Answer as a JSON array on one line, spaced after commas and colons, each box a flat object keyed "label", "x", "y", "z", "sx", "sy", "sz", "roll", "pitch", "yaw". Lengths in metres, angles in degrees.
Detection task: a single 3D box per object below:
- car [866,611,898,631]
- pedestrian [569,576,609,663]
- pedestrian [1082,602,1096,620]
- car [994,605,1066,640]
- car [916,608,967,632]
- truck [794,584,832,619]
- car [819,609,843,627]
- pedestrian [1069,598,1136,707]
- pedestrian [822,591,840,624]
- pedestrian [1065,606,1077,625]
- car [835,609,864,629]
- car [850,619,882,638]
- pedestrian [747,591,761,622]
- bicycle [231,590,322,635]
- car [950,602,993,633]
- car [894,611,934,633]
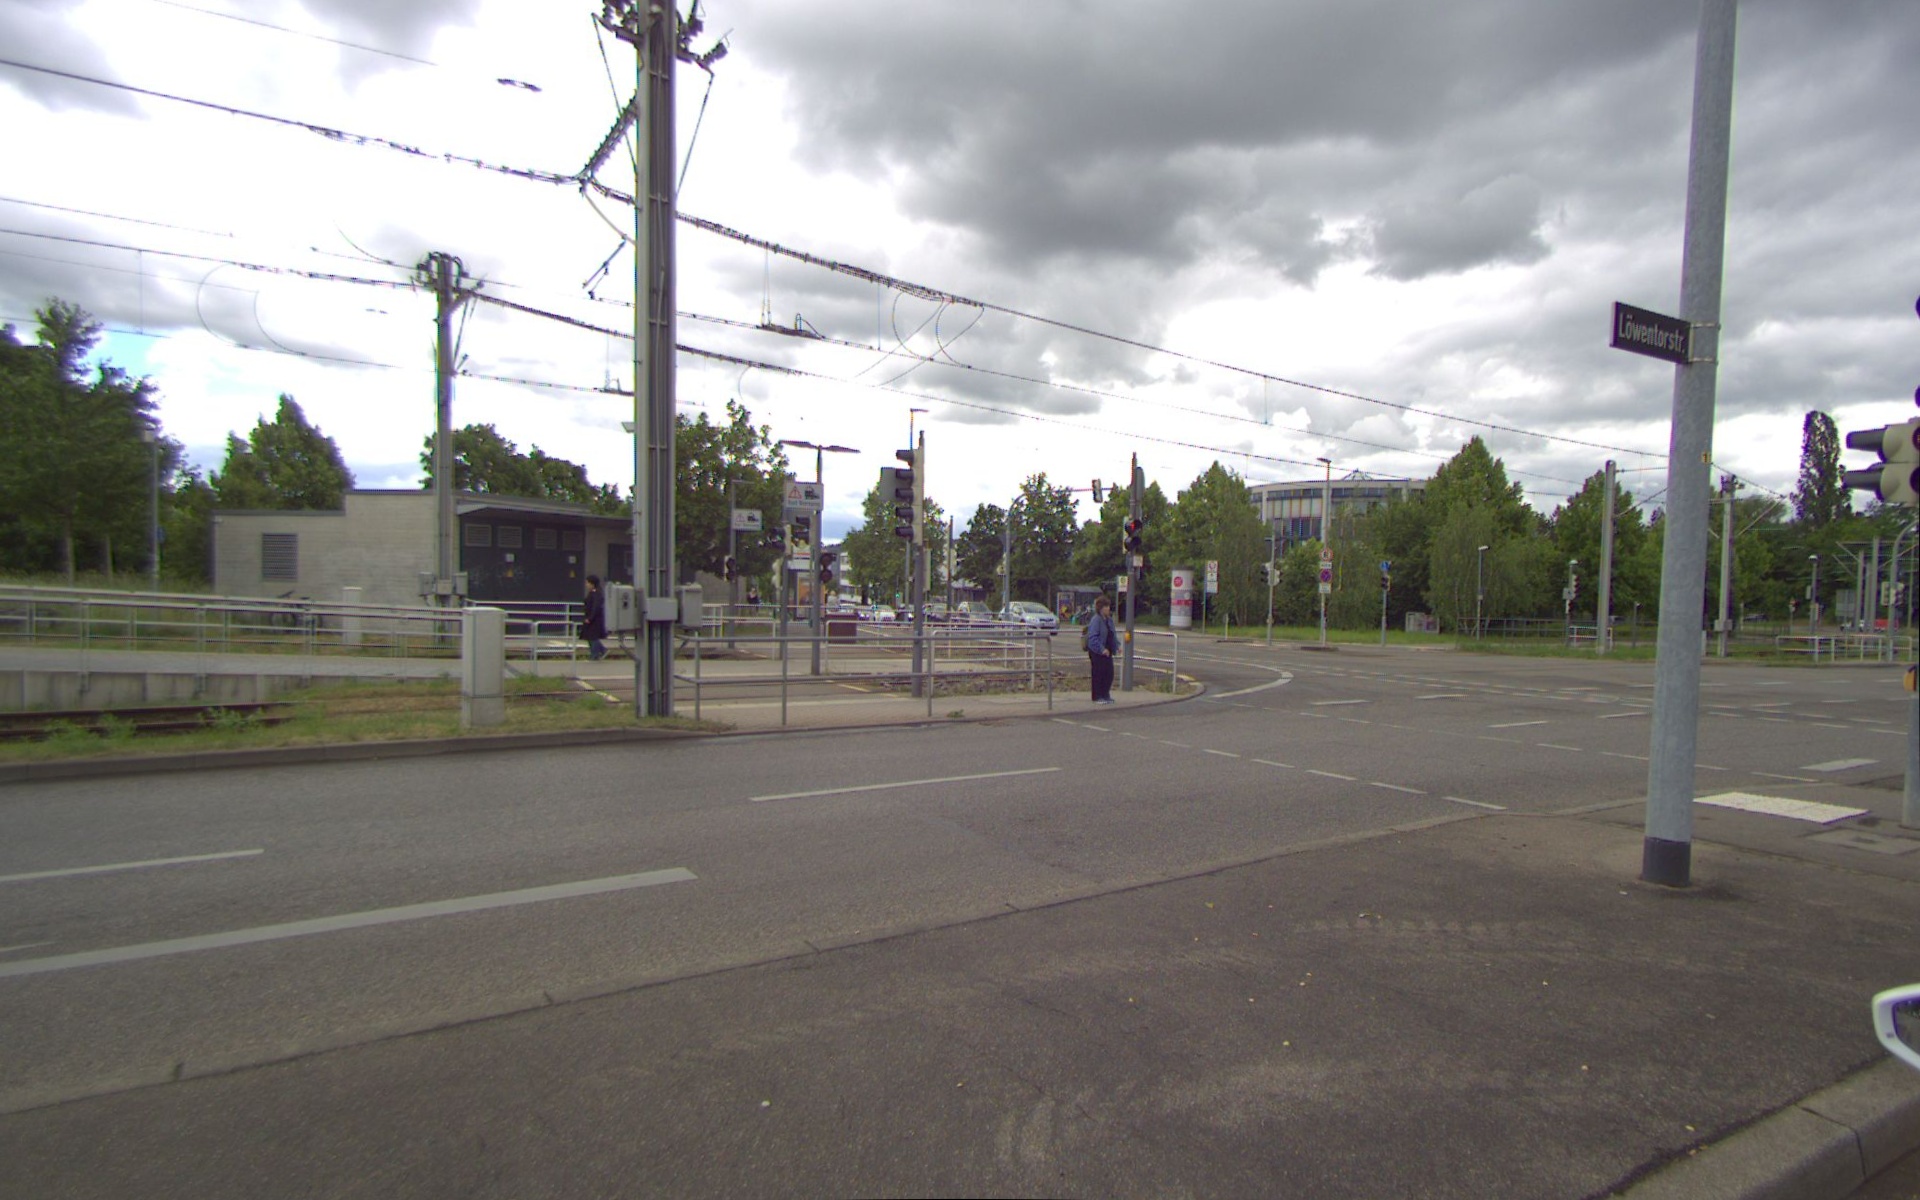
[{"label": "car", "x": -5.831, "y": 1.566, "z": 74.708, "sx": 1.618, "sy": 1.409, "sz": 3.748, "roll": 1, "pitch": 0, "yaw": -17}, {"label": "pedestrian", "x": -7.007, "y": 0.364, "z": 18.970, "sx": 0.539, "sy": 1.593, "sz": 0.560, "roll": 4, "pitch": -1, "yaw": -31}, {"label": "pedestrian", "x": 9.179, "y": 0.816, "z": 71.584, "sx": 0.759, "sy": 1.269, "sz": 0.774, "roll": 1, "pitch": 0, "yaw": 32}, {"label": "car", "x": 3.228, "y": 1.035, "z": 47.001, "sx": 1.805, "sy": 1.556, "sz": 4.199, "roll": 1, "pitch": 0, "yaw": -21}, {"label": "car", "x": -1.133, "y": 1.141, "z": 58.175, "sx": 1.777, "sy": 1.350, "sz": 4.362, "roll": 1, "pitch": 0, "yaw": -18}, {"label": "truck", "x": -15.696, "y": 0.152, "z": 106.445, "sx": 2.670, "sy": 3.533, "sz": 9.960, "roll": 0, "pitch": 0, "yaw": -16}, {"label": "car", "x": -12.079, "y": 1.668, "z": 94.118, "sx": 1.618, "sy": 1.607, "sz": 4.046, "roll": 1, "pitch": 0, "yaw": -17}, {"label": "pedestrian", "x": 2.086, "y": 0.750, "z": 14.711, "sx": 0.661, "sy": 1.550, "sz": 0.711, "roll": 1, "pitch": 0, "yaw": -25}, {"label": "pedestrian", "x": -5.601, "y": 0.326, "z": 43.701, "sx": 0.543, "sy": 1.382, "sz": 0.769, "roll": 1, "pitch": 0, "yaw": -24}, {"label": "pedestrian", "x": 8.071, "y": 1.136, "z": 72.925, "sx": 0.718, "sy": 1.333, "sz": 0.587, "roll": 1, "pitch": 0, "yaw": -15}, {"label": "car", "x": -9.578, "y": 1.605, "z": 86.773, "sx": 1.708, "sy": 1.607, "sz": 4.208, "roll": 1, "pitch": 0, "yaw": -17}, {"label": "car", "x": -7.559, "y": 2.256, "z": 80.346, "sx": 1.618, "sy": 1.409, "sz": 4.867, "roll": 1, "pitch": 0, "yaw": -17}, {"label": "pedestrian", "x": -11.417, "y": 0.374, "z": 55.768, "sx": 0.539, "sy": 1.692, "sz": 0.639, "roll": 1, "pitch": 0, "yaw": 10}, {"label": "bicycle", "x": -18.435, "y": 0.337, "z": 27.086, "sx": 2.210, "sy": 1.120, "sz": 0.679, "roll": 2, "pitch": 0, "yaw": 12}, {"label": "car", "x": 0.575, "y": 0.908, "z": 53.209, "sx": 1.411, "sy": 1.547, "sz": 2.763, "roll": 0, "pitch": 0, "yaw": -19}, {"label": "car", "x": -2.978, "y": 1.407, "z": 64.727, "sx": 1.618, "sy": 1.350, "sz": 4.046, "roll": 1, "pitch": 0, "yaw": -17}]
